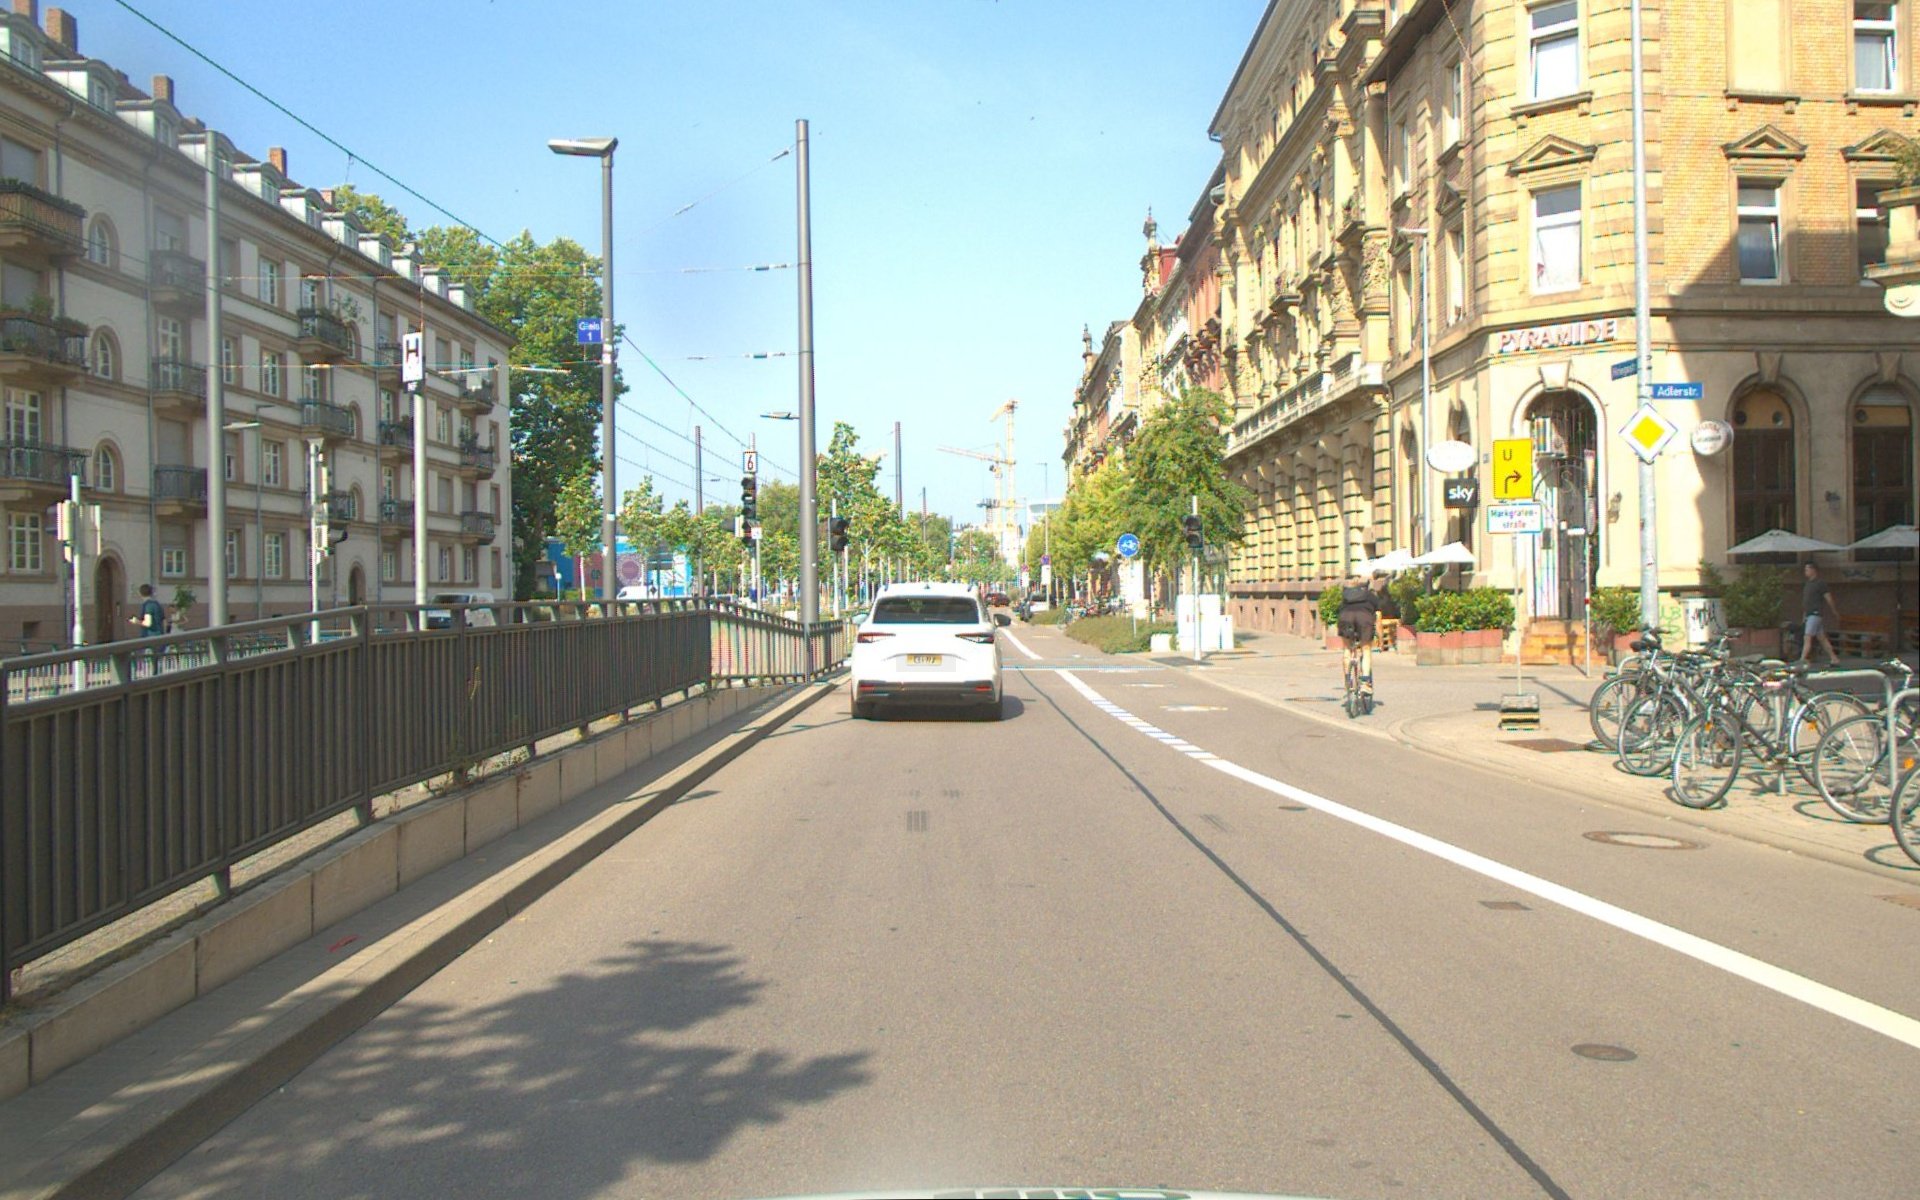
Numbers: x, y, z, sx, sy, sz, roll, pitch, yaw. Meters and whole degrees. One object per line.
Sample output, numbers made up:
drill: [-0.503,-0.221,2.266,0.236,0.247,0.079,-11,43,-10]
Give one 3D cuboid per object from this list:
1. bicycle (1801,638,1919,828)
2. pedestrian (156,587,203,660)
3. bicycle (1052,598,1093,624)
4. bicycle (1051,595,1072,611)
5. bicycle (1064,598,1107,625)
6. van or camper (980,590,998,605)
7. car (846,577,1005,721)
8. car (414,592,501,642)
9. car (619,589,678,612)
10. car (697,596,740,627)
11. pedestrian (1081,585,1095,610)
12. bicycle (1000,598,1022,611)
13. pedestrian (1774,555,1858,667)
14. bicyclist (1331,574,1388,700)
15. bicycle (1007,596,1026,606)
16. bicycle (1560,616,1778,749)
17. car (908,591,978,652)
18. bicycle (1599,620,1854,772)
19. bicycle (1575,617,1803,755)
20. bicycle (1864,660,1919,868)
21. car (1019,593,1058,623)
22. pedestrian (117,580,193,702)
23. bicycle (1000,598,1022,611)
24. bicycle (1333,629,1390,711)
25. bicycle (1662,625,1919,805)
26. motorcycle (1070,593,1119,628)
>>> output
bicycle: [6.529,0.810,10.815,1.723,1.106,0.656,-4,0,-9]
pedestrian: [-22.917,0.682,48.578,0.825,2.104,1.157,0,0,1]
bicycle: [5.047,0.502,74.072,1.748,1.072,0.373,-3,0,-1]
bicycle: [7.108,0.228,115.935,0.447,1.101,1.866,-3,-2,42]
bicycle: [5.503,0.508,72.750,1.772,1.115,0.671,-3,0,-5]
van or camper: [3.287,-0.270,186.567,1.953,1.684,4.000,-2,0,0]
car: [-0.373,0.542,20.896,1.780,1.617,4.407,0,0,0]
car: [-20.724,0.674,68.488,1.952,1.951,5.153,1,0,1]
car: [-38.351,0.083,203.763,6.775,2.685,2.499,1,0,-21]
car: [-15.877,0.757,108.882,1.952,1.928,5.047,-1,0,1]
pedestrian: [9.080,-0.186,117.709,0.806,1.726,0.792,-3,0,-4]
bicycle: [5.173,0.460,167.932,2.193,1.123,0.519,-3,0,2]
pedestrian: [14.519,0.169,28.077,0.845,1.837,0.992,-2,2,-4]
bicyclist: [4.899,0.459,20.256,0.571,1.508,0.931,-1,-2,20]
bicycle: [5.727,0.095,169.023,1.894,1.003,0.471,-3,0,2]
bicycle: [6.567,0.761,15.371,1.716,1.106,0.583,-3,0,3]
car: [-0.394,0.518,42.901,1.718,1.510,4.407,0,0,0]
bicycle: [6.233,0.774,13.514,1.718,1.106,0.669,-3,0,5]
bicycle: [6.486,0.757,14.770,1.716,1.106,0.583,-3,0,3]
bicycle: [6.076,0.851,9.248,1.723,1.106,0.609,-4,0,-9]
car: [4.510,0.430,95.416,1.734,1.616,4.245,-2,0,-3]
pedestrian: [-12.911,0.645,26.515,1.055,1.900,0.856,-1,0,-27]
bicycle: [5.142,0.457,167.377,2.193,1.123,0.588,-3,0,2]
bicycle: [4.984,0.856,20.483,0.495,0.970,1.785,-1,-2,20]
bicycle: [6.060,0.806,12.059,1.732,1.106,0.668,-5,0,-23]
motorcycle: [5.578,0.431,68.605,2.017,1.309,0.697,-3,1,-34]
